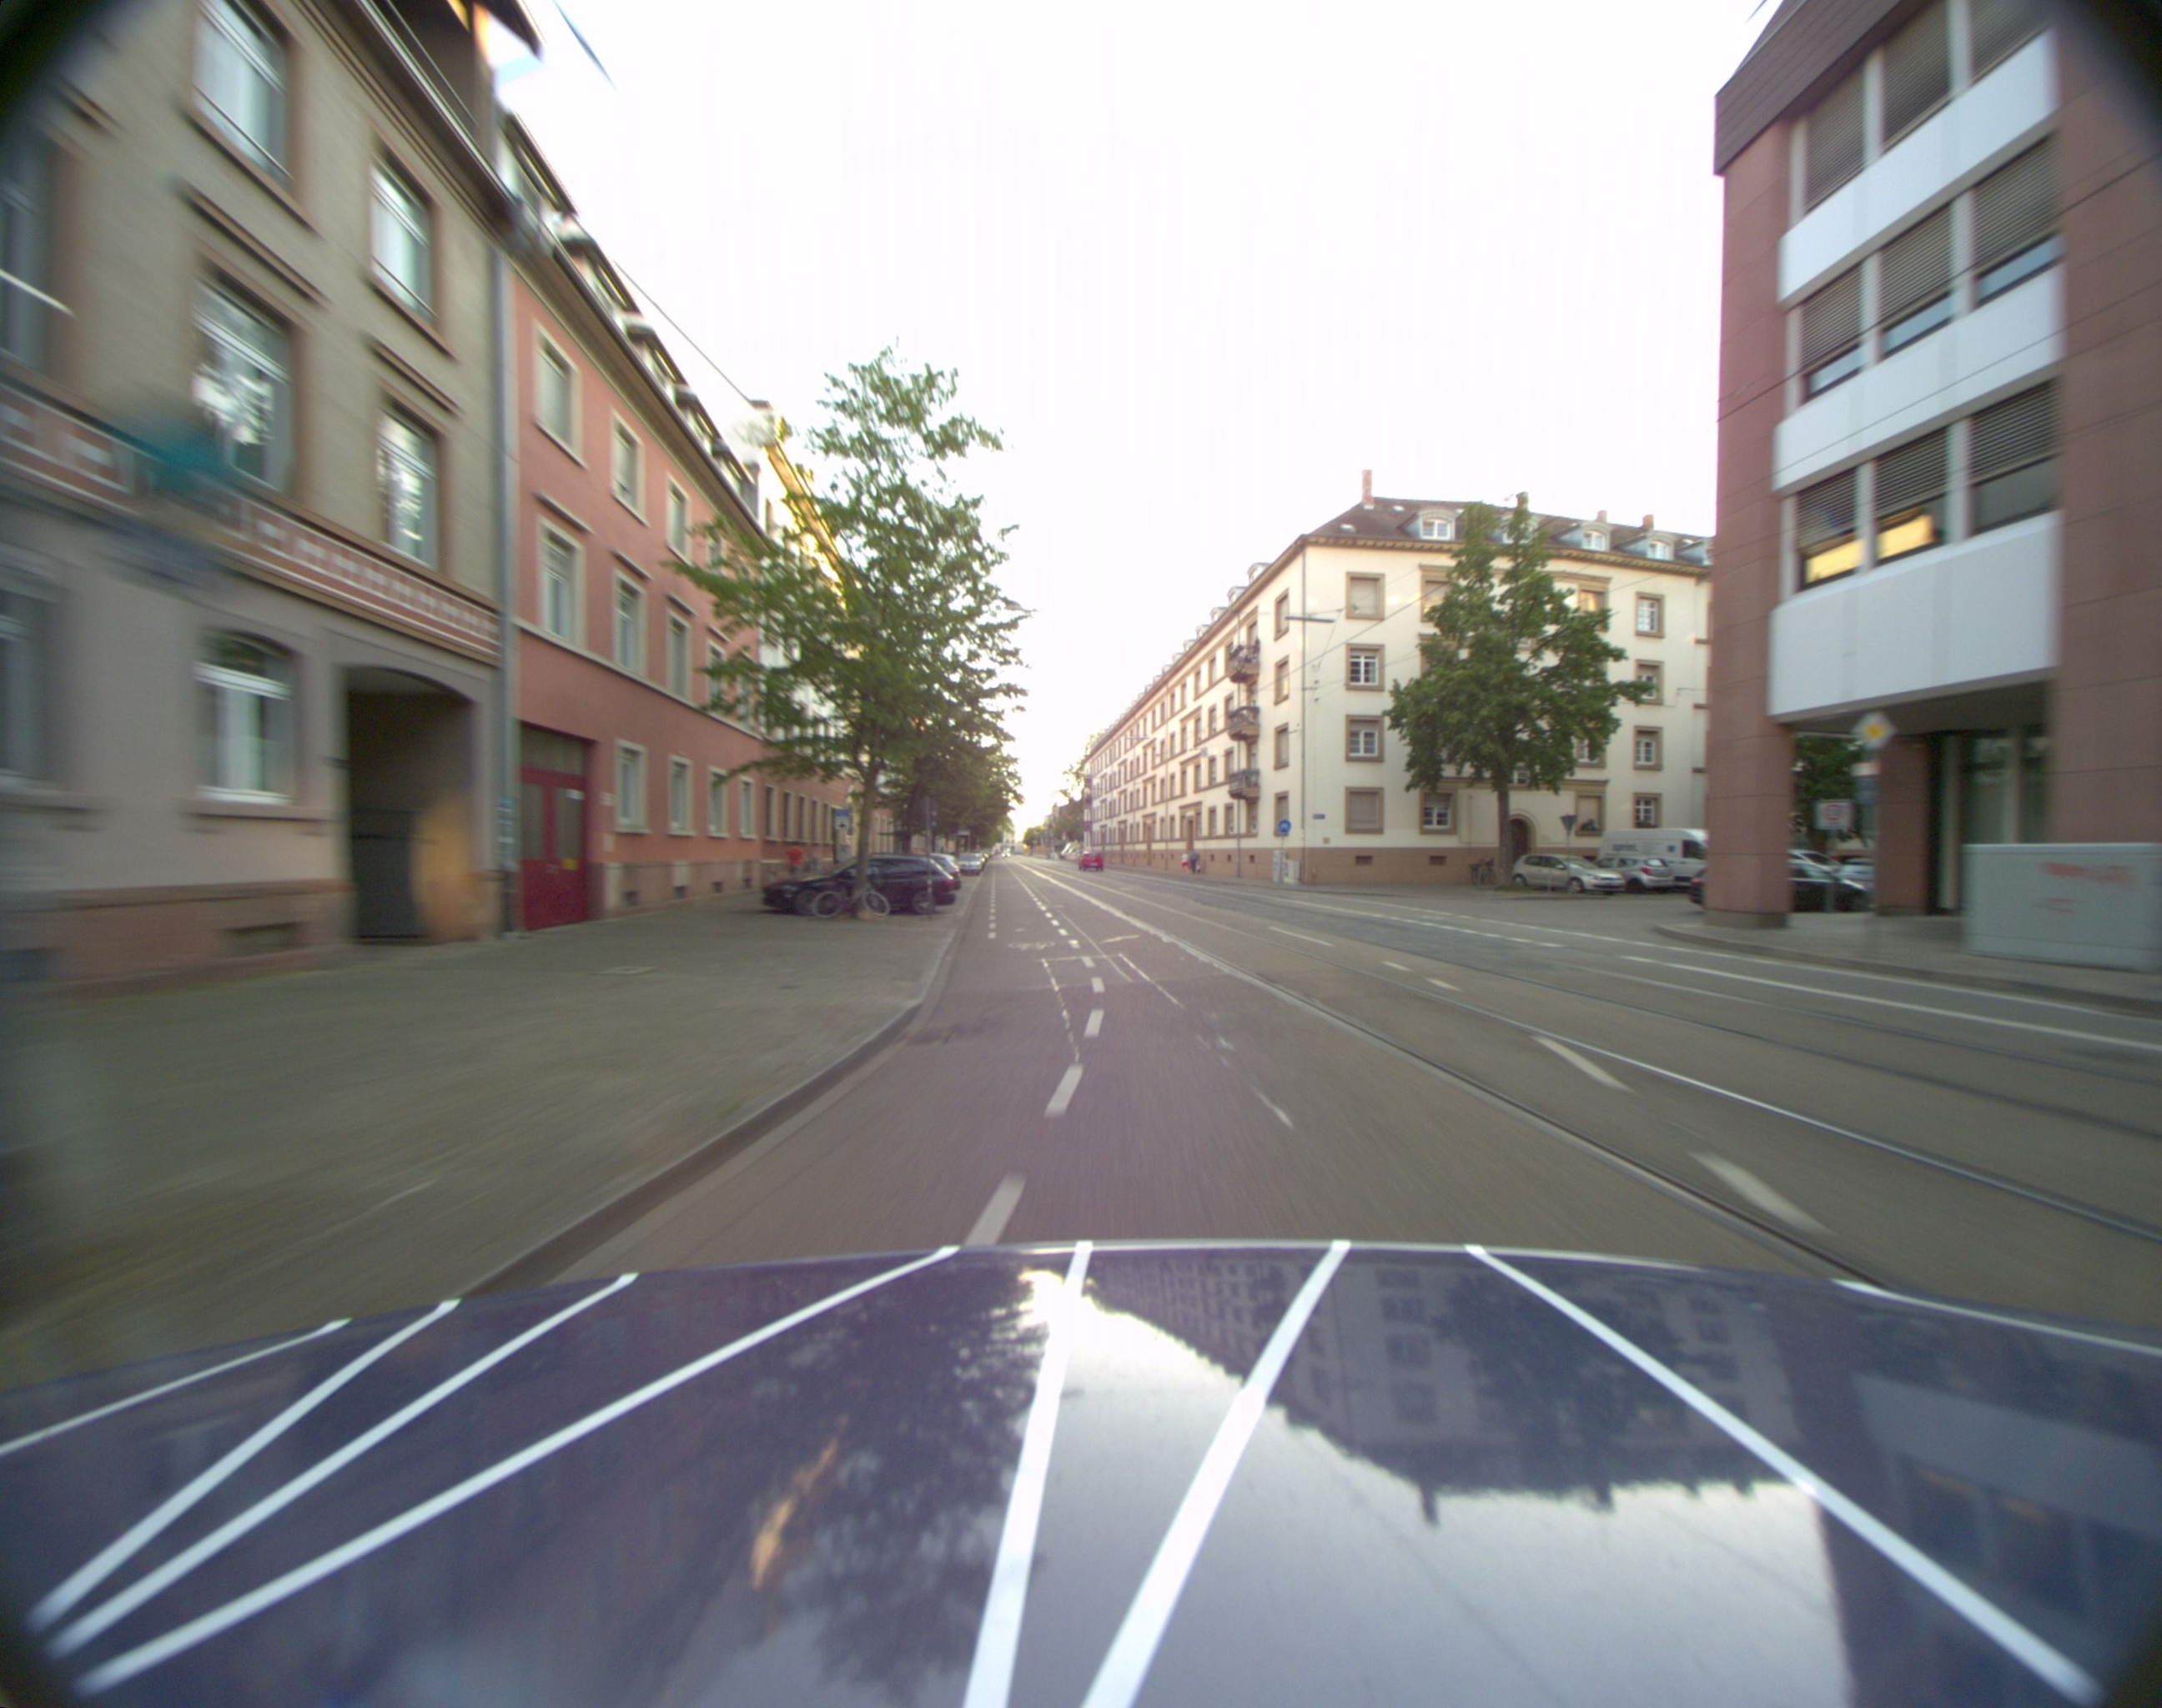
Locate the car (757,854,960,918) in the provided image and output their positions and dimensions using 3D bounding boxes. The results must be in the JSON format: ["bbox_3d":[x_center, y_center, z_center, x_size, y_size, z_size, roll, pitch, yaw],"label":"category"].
[{"bbox_3d":[-5.569,0.793,19.257,4.628,1.448,1.706,2,0,-31],"label":"car"}]

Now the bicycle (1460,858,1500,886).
[{"bbox_3d":[17.705,0.791,33.708,1.686,1.206,0.603,0,1,-24],"label":"bicycle"}]

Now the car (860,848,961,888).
[{"bbox_3d":[-6.817,0.567,30.512,3.573,1.507,1.739,1,0,-31],"label":"car"}]

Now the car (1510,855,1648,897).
[{"bbox_3d":[18.941,0.787,29.147,2.001,1.414,4.174,0,0,-14],"label":"car"}]

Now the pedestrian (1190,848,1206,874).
[{"bbox_3d":[7.692,0.469,49.991,0.798,1.692,0.980,0,1,-9],"label":"pedestrian"}]

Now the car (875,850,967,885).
[{"bbox_3d":[-7.016,0.582,33.377,3.573,1.420,1.665,1,0,-31],"label":"car"}]

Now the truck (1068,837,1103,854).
[{"bbox_3d":[0.943,-1.833,162.906,7.081,3.408,2.564,-1,0,-10],"label":"truck"}]

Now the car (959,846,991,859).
[{"bbox_3d":[-14.701,-0.208,105.776,4.006,1.805,1.820,2,0,-28],"label":"car"}]

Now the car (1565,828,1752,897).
[{"bbox_3d":[23.639,0.283,31.540,2.098,2.574,6.122,0,1,-15],"label":"car"}]

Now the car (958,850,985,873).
[{"bbox_3d":[-7.305,0.476,50.765,1.624,1.373,3.773,2,0,-6],"label":"car"}]

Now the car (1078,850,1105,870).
[{"bbox_3d":[0.854,0.437,62.213,1.564,1.549,3.751,1,0,-9],"label":"car"}]

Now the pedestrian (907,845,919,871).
[{"bbox_3d":[-11.531,0.285,52.157,0.682,1.806,0.600,0,1,-6],"label":"pedestrian"}]

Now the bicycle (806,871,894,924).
[{"bbox_3d":[-5.106,0.958,16.906,1.695,1.095,0.927,2,1,-7],"label":"bicycle"}]

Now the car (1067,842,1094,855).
[{"bbox_3d":[-0.094,-1.111,157.120,5.236,2.582,2.227,-1,0,-10],"label":"car"}]

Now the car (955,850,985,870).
[{"bbox_3d":[-8.197,0.402,56.433,1.785,1.373,4.688,2,0,-4],"label":"car"}]

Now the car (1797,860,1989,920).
[{"bbox_3d":[22.878,0.971,21.460,4.002,1.496,1.920,0,2,-13],"label":"car"}]

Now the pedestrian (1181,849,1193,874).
[{"bbox_3d":[6.985,0.501,50.035,0.592,1.600,0.810,0,1,-9],"label":"pedestrian"}]

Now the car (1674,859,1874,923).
[{"bbox_3d":[18.150,0.933,19.979,4.002,1.496,1.920,0,2,-13],"label":"car"}]

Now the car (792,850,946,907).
[{"bbox_3d":[-6.251,0.707,22.486,4.007,1.483,1.826,1,2,-31],"label":"car"}]

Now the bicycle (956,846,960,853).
[{"bbox_3d":[-22.686,-0.835,140.156,0.471,1.203,1.782,0,1,-6],"label":"bicycle"}]

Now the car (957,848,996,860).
[{"bbox_3d":[-12.908,0.028,93.857,4.397,1.455,1.716,1,0,-24],"label":"car"}]

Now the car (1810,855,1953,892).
[{"bbox_3d":[35.681,0.808,34.028,1.827,1.510,3.993,0,0,-17],"label":"car"}]

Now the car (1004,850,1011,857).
[{"bbox_3d":[-19.808,-0.177,204.598,2.000,1.674,3.998,-1,0,-6],"label":"car"}]

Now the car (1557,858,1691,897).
[{"bbox_3d":[21.554,0.878,30.386,1.796,1.414,4.174,0,0,-14],"label":"car"}]

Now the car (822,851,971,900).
[{"bbox_3d":[-6.185,0.709,25.587,4.466,1.507,2.058,1,0,-29],"label":"car"}]
